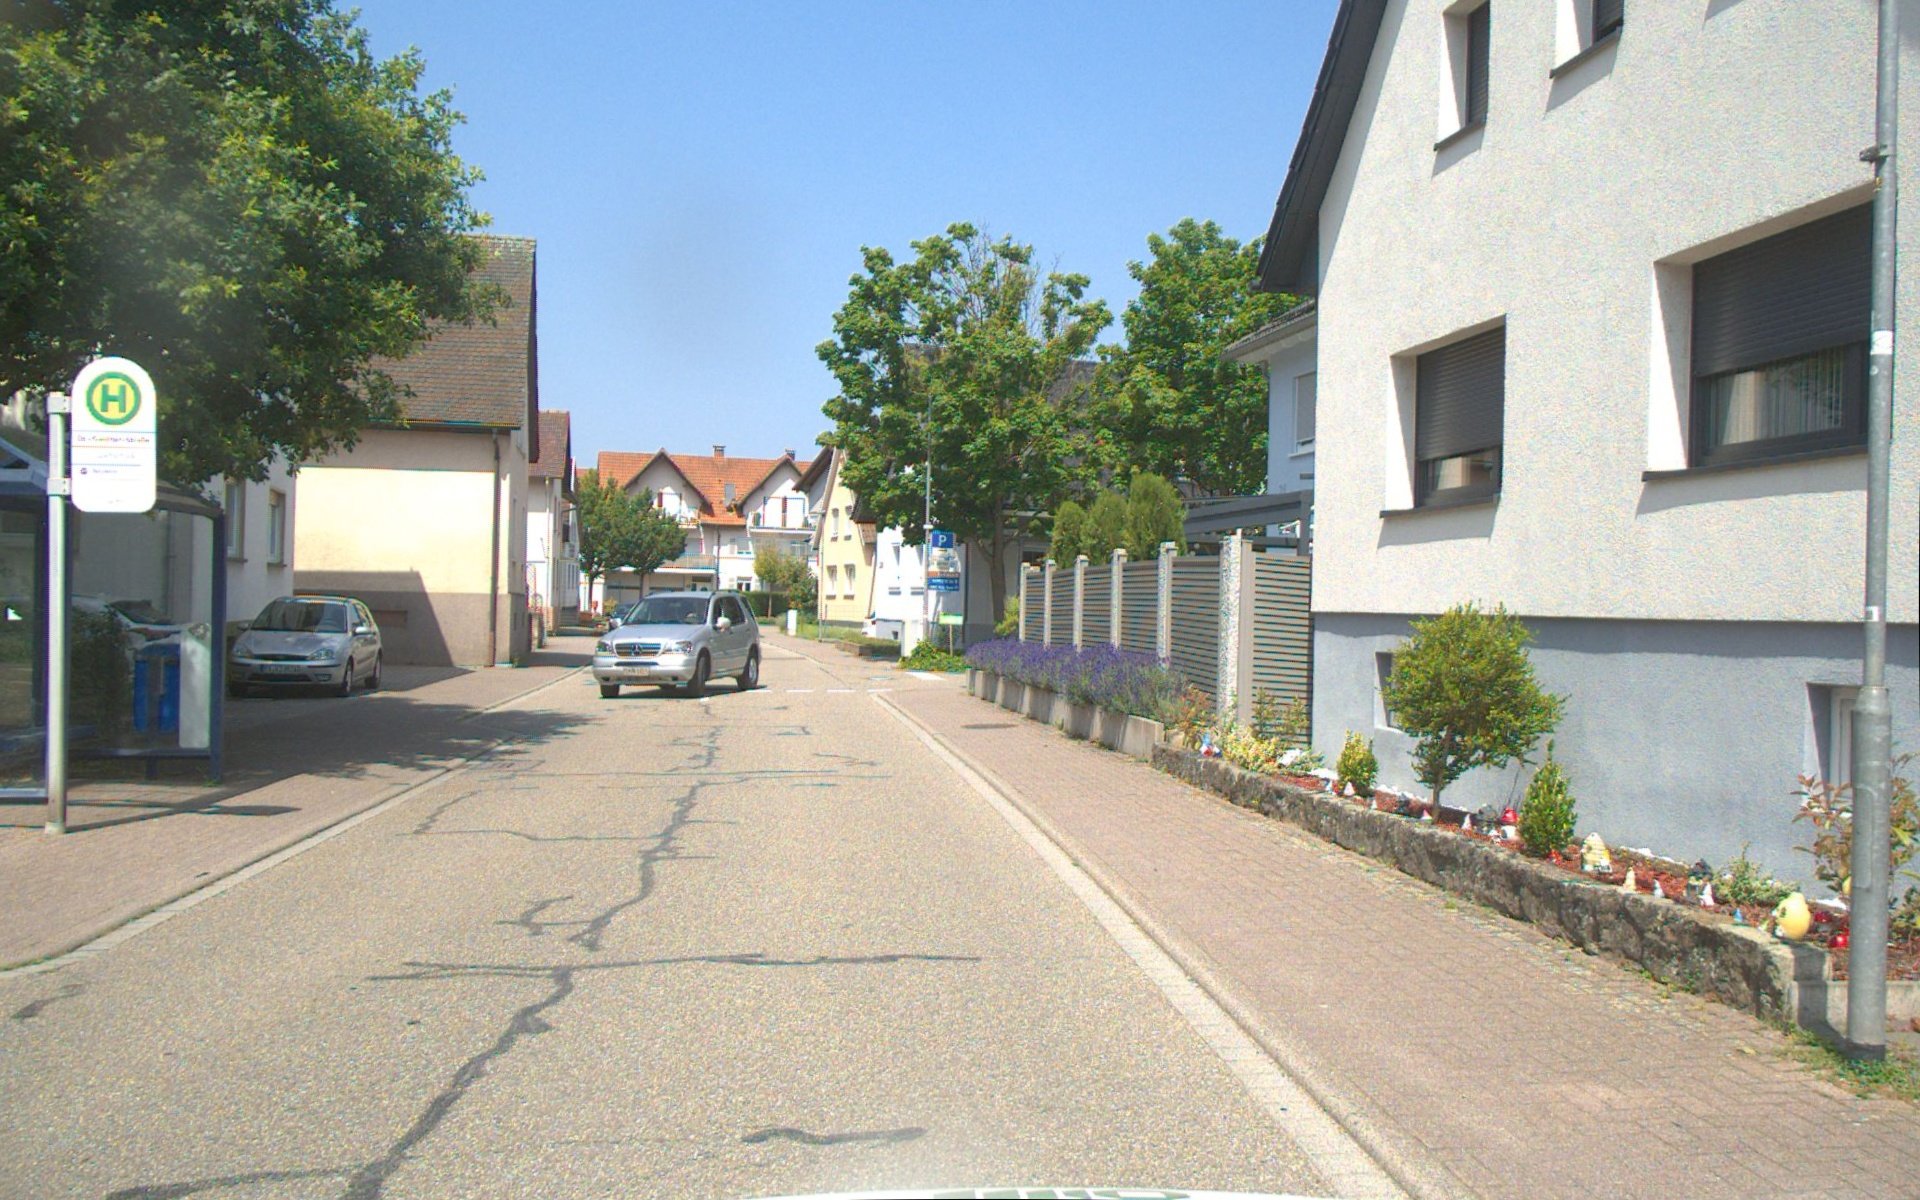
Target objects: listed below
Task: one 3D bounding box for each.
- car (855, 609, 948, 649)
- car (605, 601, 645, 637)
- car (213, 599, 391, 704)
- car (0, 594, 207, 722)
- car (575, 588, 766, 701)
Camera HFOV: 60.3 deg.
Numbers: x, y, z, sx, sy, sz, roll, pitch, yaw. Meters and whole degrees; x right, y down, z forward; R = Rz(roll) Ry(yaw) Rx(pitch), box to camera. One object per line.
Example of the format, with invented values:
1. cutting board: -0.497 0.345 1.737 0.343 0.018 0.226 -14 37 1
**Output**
1. car: -2.056 1.011 57.945 2.996 1.369 1.415 1 -1 -19
2. car: -14.370 0.793 70.895 1.598 1.512 3.987 0 0 -13
3. car: -10.154 0.749 25.805 1.746 1.460 4.046 2 0 -10
4. car: -12.110 0.728 21.250 4.083 1.565 1.770 -1 0 -9
5. car: -4.872 0.717 28.499 1.845 1.798 4.334 0 0 10
